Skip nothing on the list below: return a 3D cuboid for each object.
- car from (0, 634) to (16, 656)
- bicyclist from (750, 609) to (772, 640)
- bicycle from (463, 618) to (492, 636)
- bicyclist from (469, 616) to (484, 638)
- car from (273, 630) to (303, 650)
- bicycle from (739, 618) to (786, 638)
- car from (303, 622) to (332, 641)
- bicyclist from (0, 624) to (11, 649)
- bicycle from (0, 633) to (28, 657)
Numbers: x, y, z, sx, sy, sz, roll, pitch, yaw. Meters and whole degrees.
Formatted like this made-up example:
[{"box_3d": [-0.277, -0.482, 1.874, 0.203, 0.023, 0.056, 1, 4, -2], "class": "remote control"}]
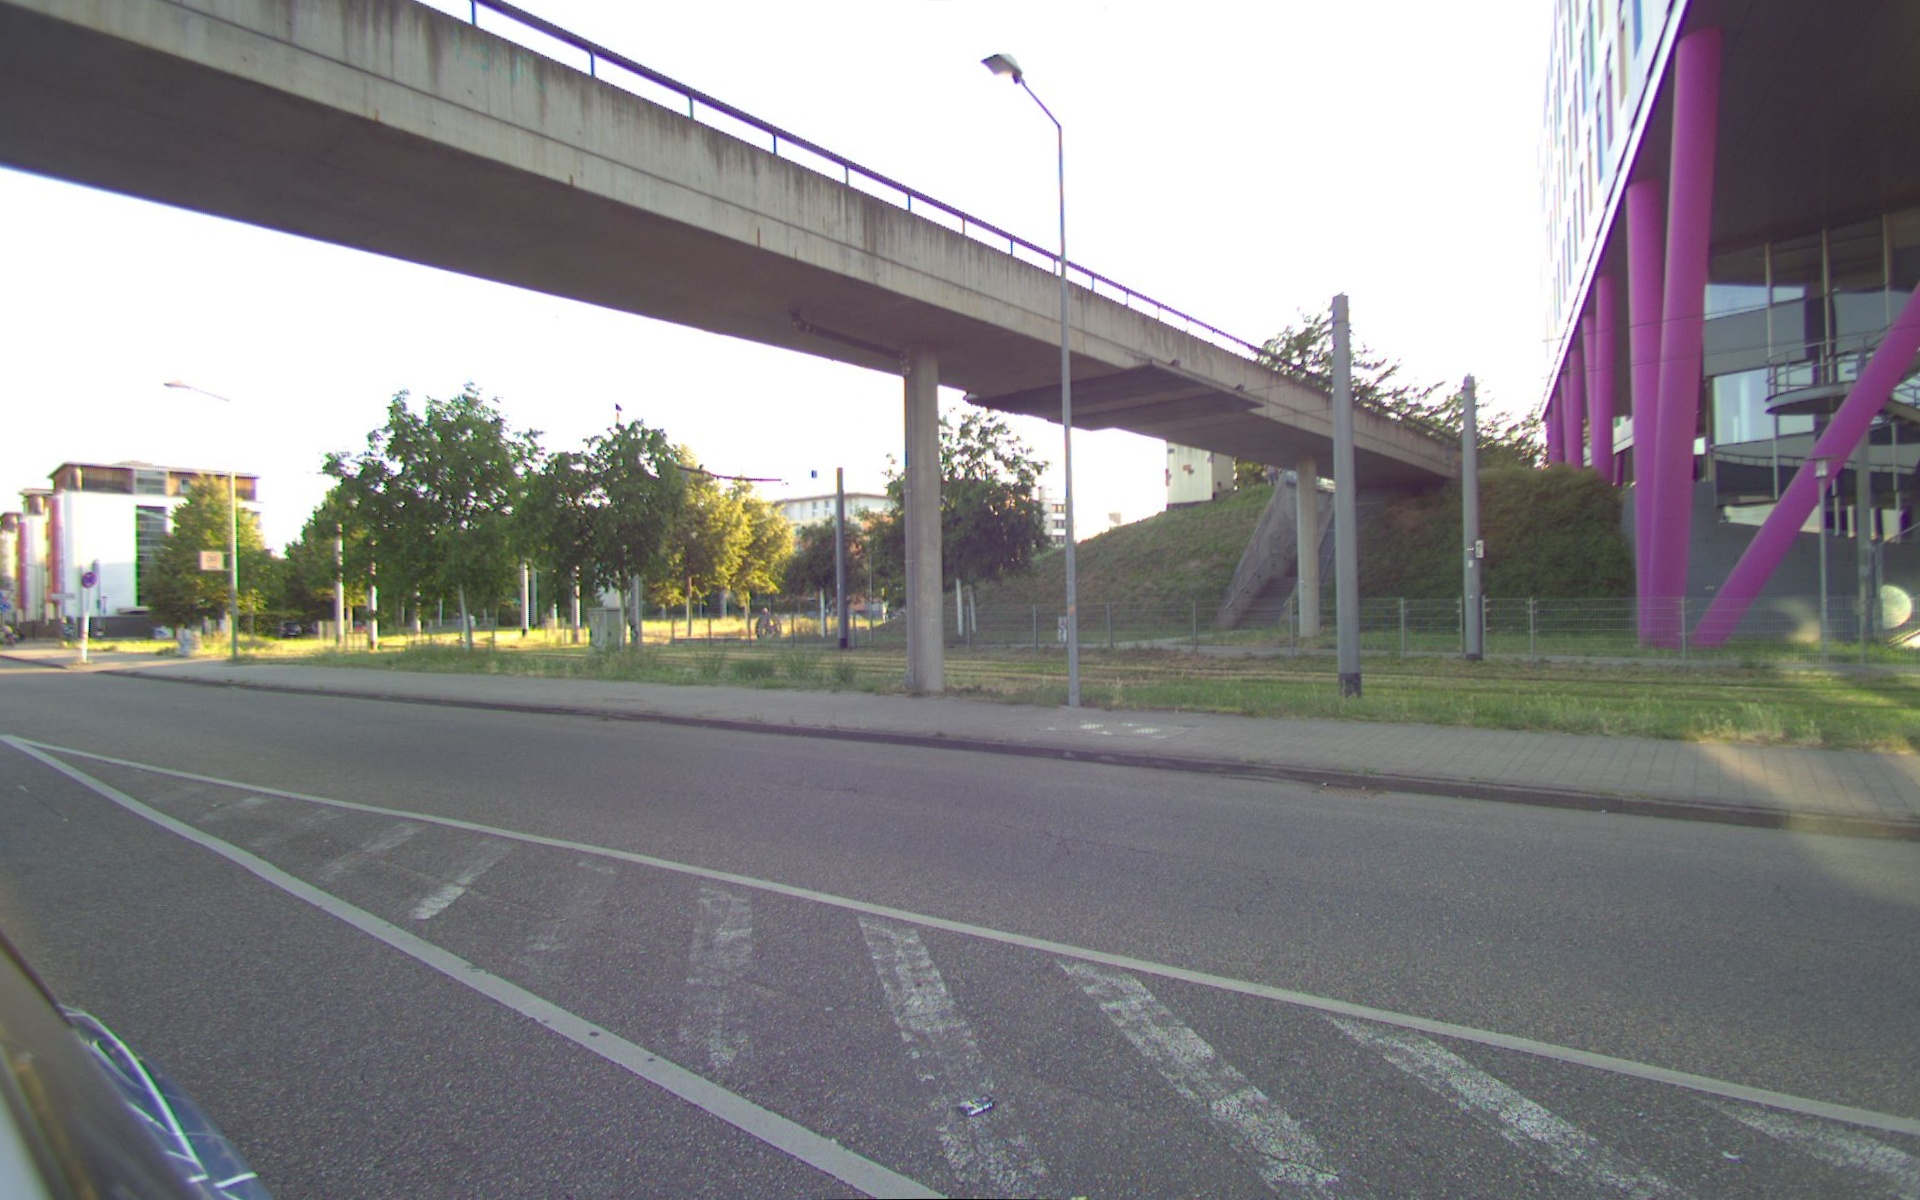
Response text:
[{"box_3d": [-80.607, 3.759, 83.381, 2.000, 1.741, 3.944, -2, -1, 42], "class": "car"}, {"box_3d": [-10.733, 1.320, 54.712, 0.716, 1.644, 0.899, -2, -1, 35], "class": "bicyclist"}, {"box_3d": [-43.572, 2.414, 91.413, 0.875, 1.503, 3.319, -1, -1, 2], "class": "bicycle"}, {"box_3d": [-43.590, 2.432, 91.224, 0.871, 1.890, 1.034, 0, -2, 1], "class": "bicyclist"}, {"box_3d": [-56.957, 3.382, 85.773, 1.913, 1.541, 4.009, -1, -1, -36], "class": "car"}, {"box_3d": [-10.629, 1.504, 54.586, 0.654, 1.016, 2.808, -2, -1, 37], "class": "bicycle"}, {"box_3d": [-55.326, 2.738, 87.120, 1.913, 1.541, 4.009, -1, -1, -36], "class": "car"}, {"box_3d": [-66.215, 2.541, 69.818, 0.914, 1.676, 0.851, -2, -1, 24], "class": "bicyclist"}, {"box_3d": [-66.008, 3.091, 69.843, 3.517, 1.581, 1.011, -1, -1, 21], "class": "bicycle"}]
